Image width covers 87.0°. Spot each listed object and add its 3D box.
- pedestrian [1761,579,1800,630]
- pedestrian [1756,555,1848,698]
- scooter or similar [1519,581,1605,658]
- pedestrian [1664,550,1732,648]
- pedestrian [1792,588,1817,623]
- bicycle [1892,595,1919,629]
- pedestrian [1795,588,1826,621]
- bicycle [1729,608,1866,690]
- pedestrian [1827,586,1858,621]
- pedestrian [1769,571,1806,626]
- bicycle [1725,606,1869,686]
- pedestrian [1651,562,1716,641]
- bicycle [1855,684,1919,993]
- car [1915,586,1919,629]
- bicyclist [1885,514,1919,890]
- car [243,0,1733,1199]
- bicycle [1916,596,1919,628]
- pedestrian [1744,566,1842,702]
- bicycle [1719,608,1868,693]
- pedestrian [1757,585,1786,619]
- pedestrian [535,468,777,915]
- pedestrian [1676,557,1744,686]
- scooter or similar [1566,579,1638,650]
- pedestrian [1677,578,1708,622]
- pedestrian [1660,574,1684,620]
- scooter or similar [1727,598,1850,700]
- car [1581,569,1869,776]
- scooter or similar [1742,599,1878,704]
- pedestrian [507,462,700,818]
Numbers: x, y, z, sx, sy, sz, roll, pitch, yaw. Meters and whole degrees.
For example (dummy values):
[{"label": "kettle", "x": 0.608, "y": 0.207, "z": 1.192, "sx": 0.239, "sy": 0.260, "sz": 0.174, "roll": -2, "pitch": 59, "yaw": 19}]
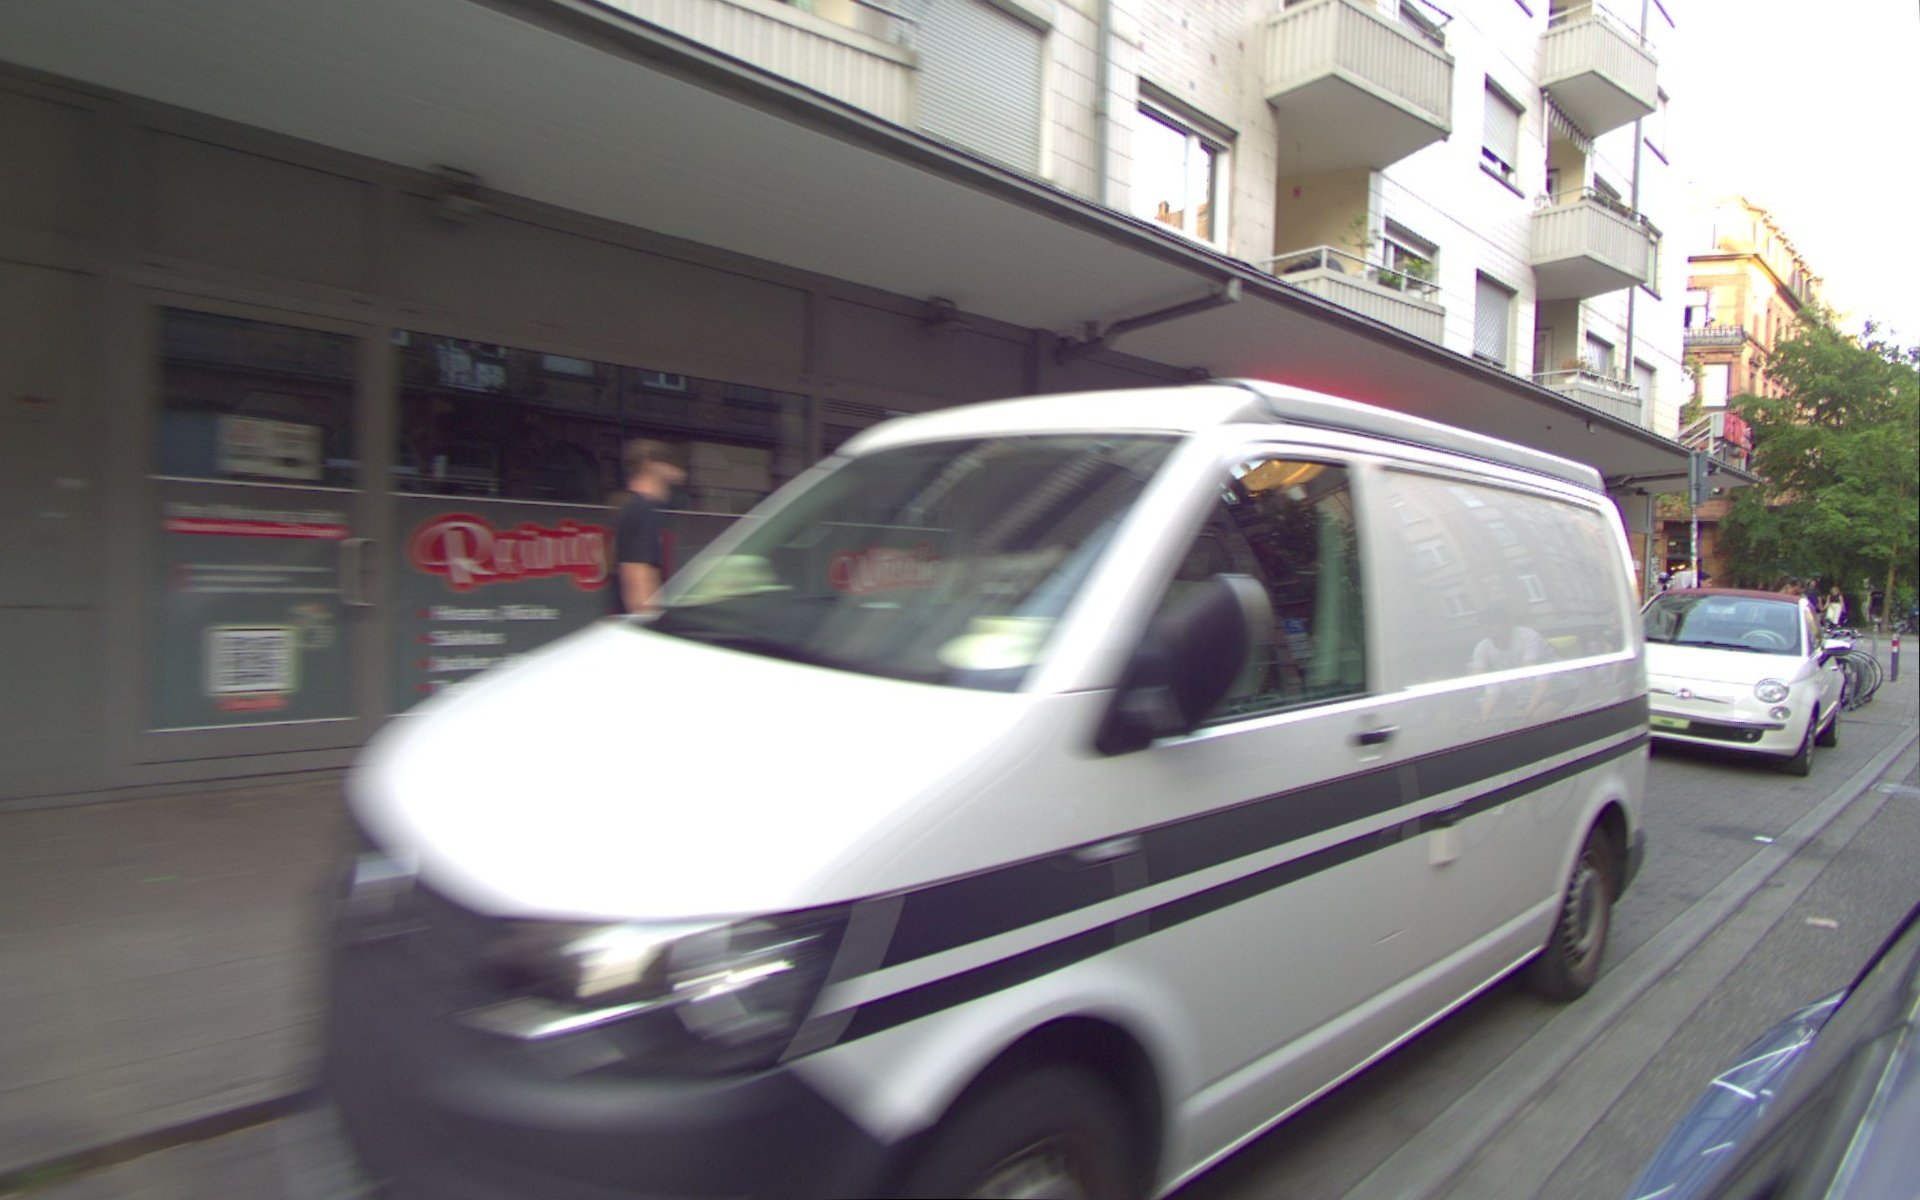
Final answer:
[{"label": "pedestrian", "x": 27.566, "y": 0.147, "z": 33.998, "sx": 0.850, "sy": 1.627, "sz": 0.540, "roll": 3, "pitch": 1, "yaw": -15}, {"label": "pedestrian", "x": 10.961, "y": 0.322, "z": 13.182, "sx": 0.724, "sy": 1.777, "sz": 0.663, "roll": 1, "pitch": 3, "yaw": -37}, {"label": "scooter or similar", "x": 10.048, "y": 0.322, "z": 16.891, "sx": 1.139, "sy": 1.218, "sz": 0.538, "roll": 2, "pitch": 1, "yaw": -15}, {"label": "pedestrian", "x": 15.307, "y": -0.040, "z": 20.981, "sx": 1.169, "sy": 1.934, "sz": 0.763, "roll": 0, "pitch": 4, "yaw": -41}, {"label": "pedestrian", "x": 32.287, "y": 0.197, "z": 38.704, "sx": 0.636, "sy": 1.288, "sz": 0.667, "roll": 1, "pitch": 2, "yaw": 34}, {"label": "bicycle", "x": 35.641, "y": 0.445, "z": 37.616, "sx": 0.658, "sy": 1.179, "sz": 2.102, "roll": 4, "pitch": 3, "yaw": 20}, {"label": "pedestrian", "x": 33.276, "y": 0.173, "z": 39.599, "sx": 0.662, "sy": 1.288, "sz": 0.641, "roll": 0, "pitch": 2, "yaw": -3}, {"label": "bicycle", "x": 12.019, "y": 0.673, "z": 14.546, "sx": 0.502, "sy": 0.995, "sz": 1.419, "roll": -1, "pitch": 5, "yaw": -44}, {"label": "pedestrian", "x": 34.952, "y": 0.124, "z": 40.104, "sx": 0.715, "sy": 1.321, "sz": 0.744, "roll": 3, "pitch": 2, "yaw": 29}, {"label": "pedestrian", "x": 29.350, "y": -0.070, "z": 35.899, "sx": 0.892, "sy": 1.891, "sz": 0.676, "roll": -1, "pitch": 2, "yaw": -27}, {"label": "bicycle", "x": 12.421, "y": 0.657, "z": 15.050, "sx": 0.502, "sy": 1.013, "sz": 1.549, "roll": -1, "pitch": 5, "yaw": -44}, {"label": "pedestrian", "x": 16.254, "y": 0.029, "z": 22.737, "sx": 0.865, "sy": 1.671, "sz": 0.666, "roll": 2, "pitch": 3, "yaw": -18}, {"label": "bicycle", "x": 4.359, "y": 0.918, "z": 4.197, "sx": 1.884, "sy": 1.031, "sz": 0.658, "roll": -1, "pitch": 2, "yaw": -39}, {"label": "car", "x": 39.778, "y": 0.356, "z": 38.937, "sx": 3.947, "sy": 1.688, "sz": 1.818, "roll": 1, "pitch": 2, "yaw": 18}, {"label": "bicyclist", "x": 4.402, "y": 0.413, "z": 4.217, "sx": 0.936, "sy": 1.527, "sz": 0.650, "roll": -1, "pitch": 2, "yaw": -39}, {"label": "car", "x": 0.713, "y": 0.324, "z": 3.400, "sx": 4.915, "sy": 1.997, "sz": 1.963, "roll": 0, "pitch": 4, "yaw": -41}, {"label": "bicycle", "x": 36.299, "y": 0.504, "z": 37.321, "sx": 0.658, "sy": 1.179, "sz": 2.102, "roll": 4, "pitch": 3, "yaw": 20}, {"label": "pedestrian", "x": 10.448, "y": 0.406, "z": 12.711, "sx": 0.637, "sy": 1.619, "sz": 0.591, "roll": 3, "pitch": 3, "yaw": 9}, {"label": "bicycle", "x": 11.691, "y": 0.678, "z": 14.233, "sx": 0.501, "sy": 1.014, "sz": 1.485, "roll": 0, "pitch": 4, "yaw": -34}, {"label": "pedestrian", "x": 31.443, "y": 0.077, "z": 39.208, "sx": 0.667, "sy": 1.288, "sz": 0.636, "roll": 1, "pitch": 2, "yaw": 21}, {"label": "pedestrian", "x": -1.415, "y": 0.352, "z": 4.704, "sx": 0.846, "sy": 1.850, "sz": 0.710, "roll": -1, "pitch": 4, "yaw": -42}, {"label": "pedestrian", "x": 10.048, "y": 0.272, "z": 13.554, "sx": 0.560, "sy": 1.651, "sz": 0.716, "roll": 5, "pitch": 3, "yaw": 42}, {"label": "scooter or similar", "x": 11.770, "y": 0.251, "z": 18.532, "sx": 1.593, "sy": 1.233, "sz": 0.480, "roll": -1, "pitch": 3, "yaw": -34}, {"label": "pedestrian", "x": 28.067, "y": 0.004, "z": 38.787, "sx": 0.628, "sy": 1.657, "sz": 0.676, "roll": 0, "pitch": 2, "yaw": -5}, {"label": "pedestrian", "x": 27.816, "y": -0.118, "z": 39.538, "sx": 0.672, "sy": 1.767, "sz": 0.631, "roll": 2, "pitch": 2, "yaw": 40}, {"label": "scooter or similar", "x": 10.773, "y": 0.615, "z": 13.180, "sx": 1.160, "sy": 1.185, "sz": 0.529, "roll": 5, "pitch": 2, "yaw": 42}, {"label": "car", "x": 7.312, "y": 0.533, "z": 9.566, "sx": 3.367, "sy": 1.519, "sz": 1.595, "roll": 0, "pitch": 4, "yaw": -44}, {"label": "scooter or similar", "x": 10.426, "y": 0.620, "z": 12.432, "sx": 1.141, "sy": 1.185, "sz": 0.537, "roll": 4, "pitch": 1, "yaw": -2}, {"label": "pedestrian", "x": -1.866, "y": 0.164, "z": 5.283, "sx": 0.732, "sy": 1.685, "sz": 0.710, "roll": -1, "pitch": 4, "yaw": -42}]
